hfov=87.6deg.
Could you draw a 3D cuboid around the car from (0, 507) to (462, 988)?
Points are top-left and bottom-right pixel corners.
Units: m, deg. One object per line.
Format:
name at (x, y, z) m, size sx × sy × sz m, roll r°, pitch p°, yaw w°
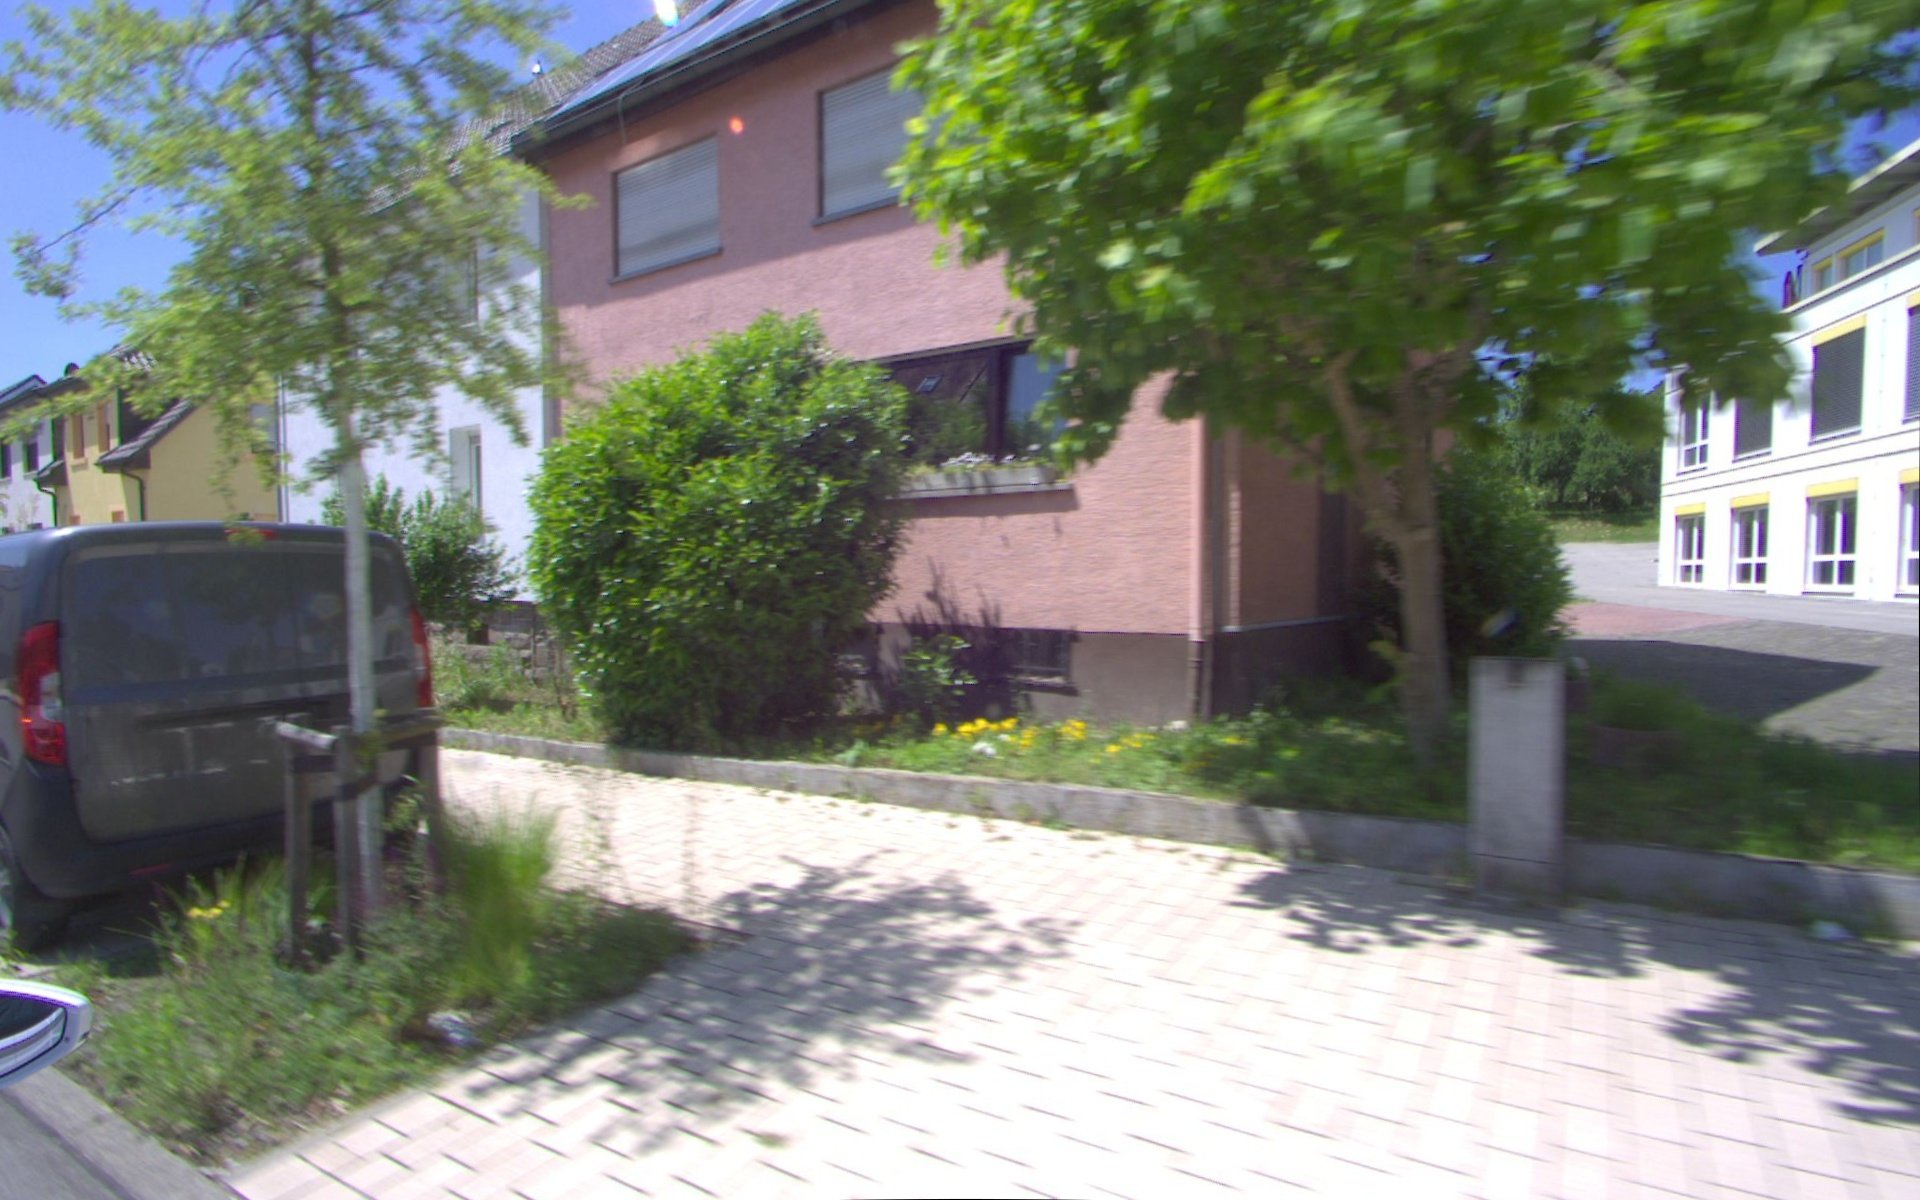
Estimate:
car at (-5.131, 0.560, 5.926) m, size 4.606 × 1.867 × 1.849 m, roll 0°, pitch 2°, yaw 34°
